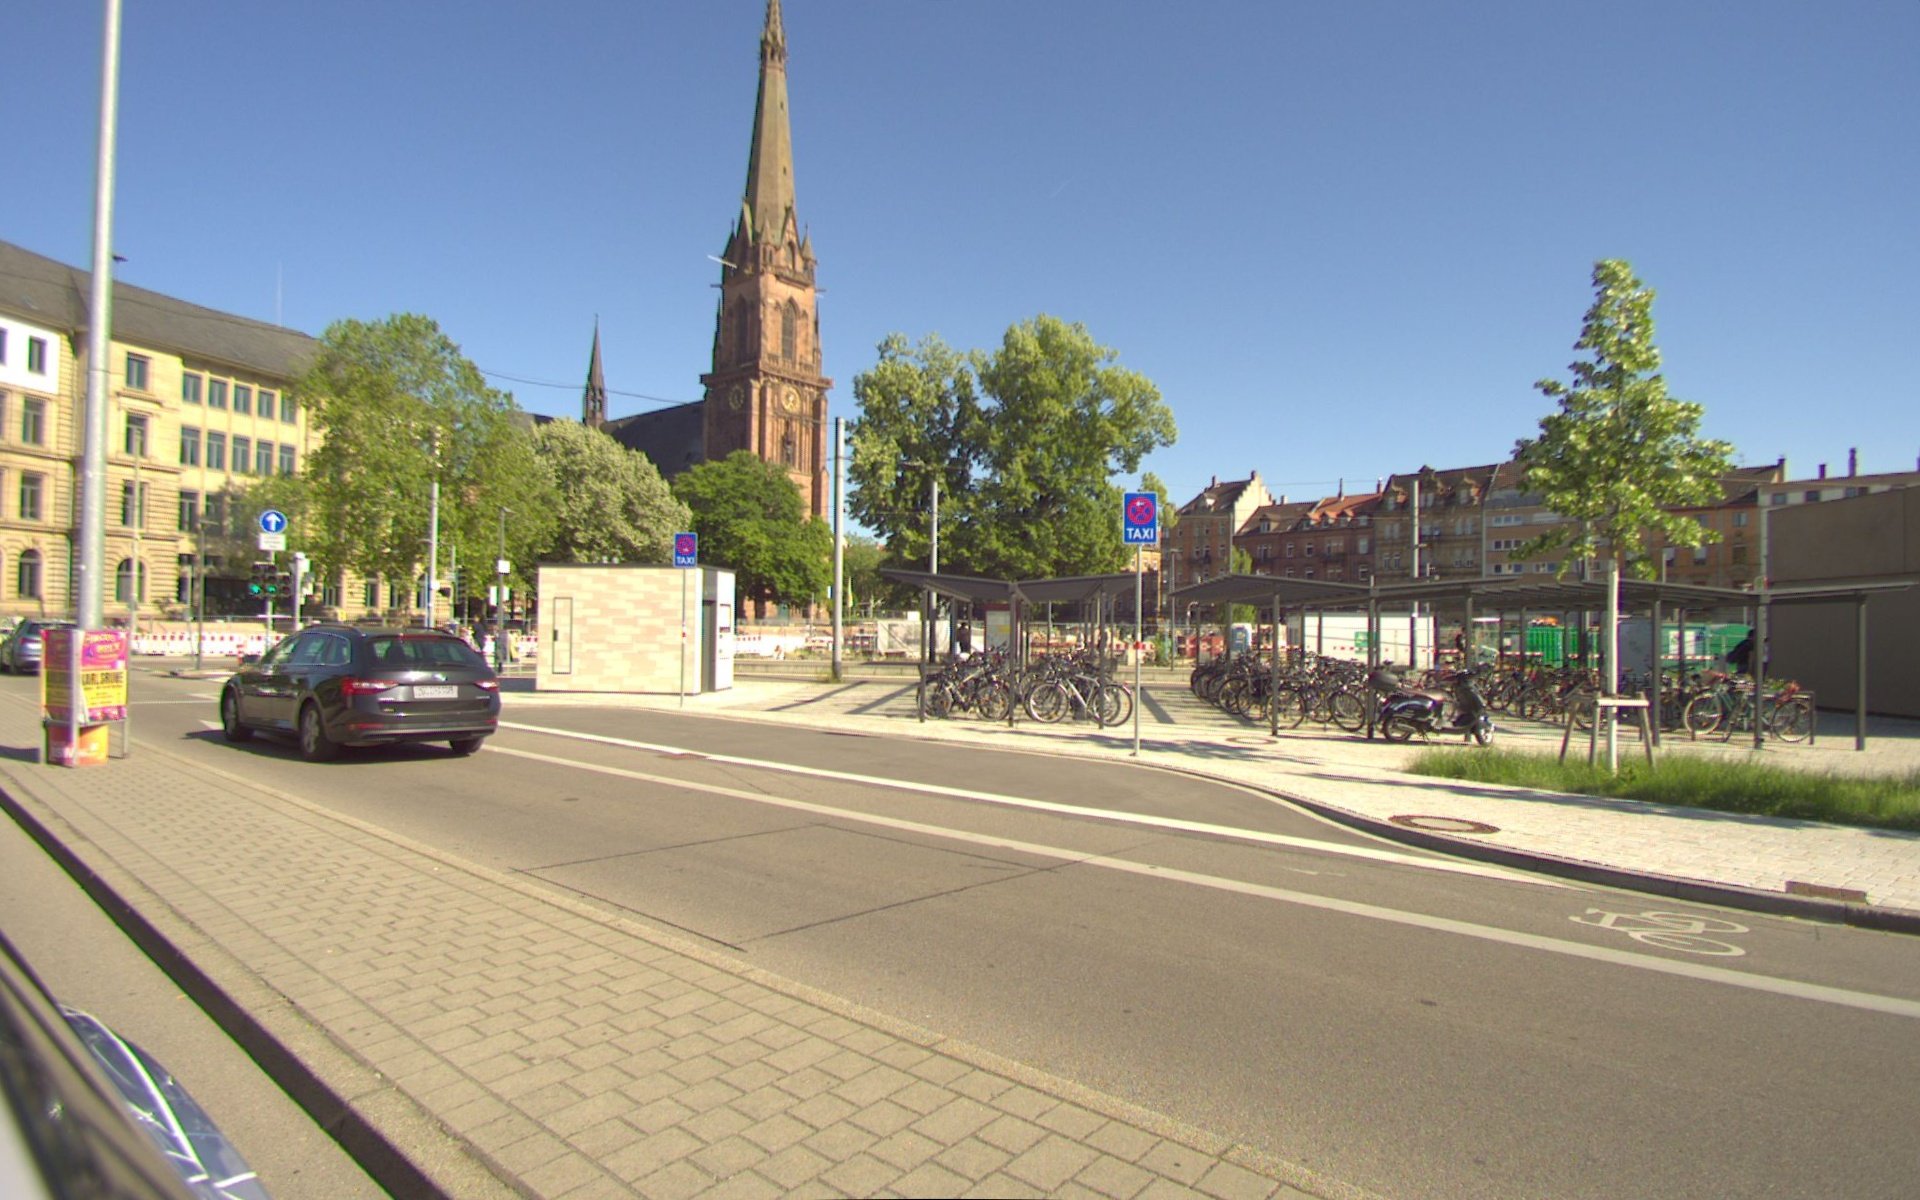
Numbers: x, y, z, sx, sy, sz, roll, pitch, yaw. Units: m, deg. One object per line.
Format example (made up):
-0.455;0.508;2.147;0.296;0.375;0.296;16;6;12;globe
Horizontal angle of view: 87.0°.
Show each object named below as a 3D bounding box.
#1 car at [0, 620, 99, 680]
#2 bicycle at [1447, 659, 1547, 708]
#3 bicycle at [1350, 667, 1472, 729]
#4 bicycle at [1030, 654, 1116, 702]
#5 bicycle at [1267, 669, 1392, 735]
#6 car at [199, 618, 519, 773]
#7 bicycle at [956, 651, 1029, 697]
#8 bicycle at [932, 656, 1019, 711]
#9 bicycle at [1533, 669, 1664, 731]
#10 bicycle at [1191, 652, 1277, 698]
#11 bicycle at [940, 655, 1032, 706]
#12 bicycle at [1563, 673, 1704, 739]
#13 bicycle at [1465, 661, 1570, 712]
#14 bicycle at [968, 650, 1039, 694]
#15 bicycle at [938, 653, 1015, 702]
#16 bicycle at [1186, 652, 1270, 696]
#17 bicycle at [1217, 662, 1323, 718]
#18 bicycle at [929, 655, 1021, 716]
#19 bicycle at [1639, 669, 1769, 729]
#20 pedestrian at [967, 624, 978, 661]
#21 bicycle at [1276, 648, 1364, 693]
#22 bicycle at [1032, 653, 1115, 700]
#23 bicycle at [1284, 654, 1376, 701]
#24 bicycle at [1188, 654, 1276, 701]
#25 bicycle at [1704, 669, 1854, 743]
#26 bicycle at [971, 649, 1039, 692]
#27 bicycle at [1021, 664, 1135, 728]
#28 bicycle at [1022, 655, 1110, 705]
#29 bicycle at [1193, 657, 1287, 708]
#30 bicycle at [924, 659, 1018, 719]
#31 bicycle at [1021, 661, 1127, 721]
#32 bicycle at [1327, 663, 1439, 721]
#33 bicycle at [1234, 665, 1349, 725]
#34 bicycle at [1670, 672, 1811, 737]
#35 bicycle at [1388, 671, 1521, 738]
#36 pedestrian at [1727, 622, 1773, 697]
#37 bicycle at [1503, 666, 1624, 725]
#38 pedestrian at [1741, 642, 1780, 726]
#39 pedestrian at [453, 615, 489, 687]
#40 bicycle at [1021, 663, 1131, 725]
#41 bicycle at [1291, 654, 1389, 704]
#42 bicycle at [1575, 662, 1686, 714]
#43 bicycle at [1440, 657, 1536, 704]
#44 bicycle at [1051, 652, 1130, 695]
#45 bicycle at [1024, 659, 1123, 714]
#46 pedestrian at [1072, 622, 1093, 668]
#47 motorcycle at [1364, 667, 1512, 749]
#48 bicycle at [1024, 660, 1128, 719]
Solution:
-25.867;1.388;28.607;4.241;1.554;1.835;-1;-4;44;car
11.786;1.828;22.241;1.882;1.016;0.456;0;-2;8;bicycle
7.897;1.712;17.760;1.882;1.016;0.456;0;-2;8;bicycle
2.513;1.729;22.531;1.882;1.016;0.456;0;-2;8;bicycle
6.124;1.685;16.837;1.882;1.016;0.456;0;-2;8;bicycle
-7.260;1.001;12.029;4.571;1.511;1.771;-1;-3;39;car
0.749;1.712;23.479;1.652;1.016;0.456;0;-2;8;bicycle
0.308;1.633;19.885;1.652;1.016;0.456;0;-2;8;bicycle
11.103;1.735;17.639;1.882;1.016;0.456;0;-2;8;bicycle
6.368;1.735;23.564;1.882;1.016;0.456;0;-2;8;bicycle
0.546;1.678;21.224;1.882;1.016;0.456;0;-2;8;bicycle
10.975;1.721;16.534;1.882;1.016;0.456;0;-2;8;bicycle
11.716;1.818;21.310;1.882;1.016;0.456;0;-2;8;bicycle
1.044;1.718;24.224;1.652;1.016;0.456;0;-2;8;bicycle
0.374;1.693;22.222;1.652;1.016;0.456;0;-2;8;bicycle
6.396;1.765;24.223;1.882;1.016;0.456;0;-2;8;bicycle
5.900;1.711;19.320;1.882;1.016;0.456;0;-2;8;bicycle
0.282;1.574;18.774;1.652;1.069;0.456;0;-2;8;bicycle
13.472;1.780;18.361;1.882;1.016;0.456;0;-2;8;bicycle
0.589;1.998;47.613;0.399;1.734;0.419;1;-2;-11;pedestrian
8.489;1.655;23.907;1.882;1.016;0.456;0;-2;8;bicycle
2.608;1.751;23.301;1.882;1.016;0.456;0;-2;8;bicycle
8.318;1.738;22.815;1.882;1.016;0.456;0;-2;8;bicycle
6.151;1.741;22.940;1.882;1.016;0.456;0;-2;8;bicycle
13.084;1.688;16.203;1.882;1.106;0.456;0;-2;8;bicycle
1.109;1.732;24.940;1.652;1.016;0.456;0;-2;8;bicycle
1.992;1.605;17.111;1.882;1.016;0.456;0;-2;8;bicycle
2.299;1.725;21.918;1.882;1.016;0.456;0;-2;8;bicycle
5.968;1.750;21.607;1.882;1.016;0.456;0;-2;8;bicycle
0.204;1.588;18.188;1.652;1.016;0.456;0;-2;8;bicycle
2.057;1.636;18.259;1.882;1.016;0.456;0;-2;8;bicycle
7.920;1.715;18.993;1.882;1.016;0.456;0;-2;8;bicycle
5.902;1.686;18.090;1.882;1.016;0.456;0;-2;8;bicycle
13.131;1.746;17.063;1.882;1.016;0.456;0;-2;8;bicycle
8.031;1.694;16.491;1.882;1.016;0.456;0;-2;8;bicycle
19.860;1.481;25.449;0.676;1.848;0.564;0;-2;8;pedestrian
11.166;1.759;18.755;1.882;1.016;0.456;0;-2;8;bicycle
19.900;2.069;25.153;0.718;2.029;0.678;-1;-4;41;pedestrian
-12.819;1.324;26.522;0.683;1.868;0.680;2;-2;-38;pedestrian
2.022;1.627;17.671;1.882;1.016;0.456;0;-2;8;bicycle
8.059;1.664;21.517;1.882;1.016;0.456;0;-2;8;bicycle
13.876;1.822;20.968;1.882;1.016;0.456;0;-2;8;bicycle
12.081;1.839;23.191;1.882;1.016;0.456;0;-2;8;bicycle
3.164;1.779;24.597;1.882;1.016;0.456;0;-2;8;bicycle
2.199;1.662;19.582;1.882;1.016;0.456;0;-2;8;bicycle
4.931;1.810;40.780;0.792;1.793;0.977;0;-2;3;pedestrian
7.164;1.605;15.223;1.924;1.160;0.516;0;-2;6;motorcycle
2.139;1.648;18.741;1.882;1.016;0.456;0;-2;8;bicycle
